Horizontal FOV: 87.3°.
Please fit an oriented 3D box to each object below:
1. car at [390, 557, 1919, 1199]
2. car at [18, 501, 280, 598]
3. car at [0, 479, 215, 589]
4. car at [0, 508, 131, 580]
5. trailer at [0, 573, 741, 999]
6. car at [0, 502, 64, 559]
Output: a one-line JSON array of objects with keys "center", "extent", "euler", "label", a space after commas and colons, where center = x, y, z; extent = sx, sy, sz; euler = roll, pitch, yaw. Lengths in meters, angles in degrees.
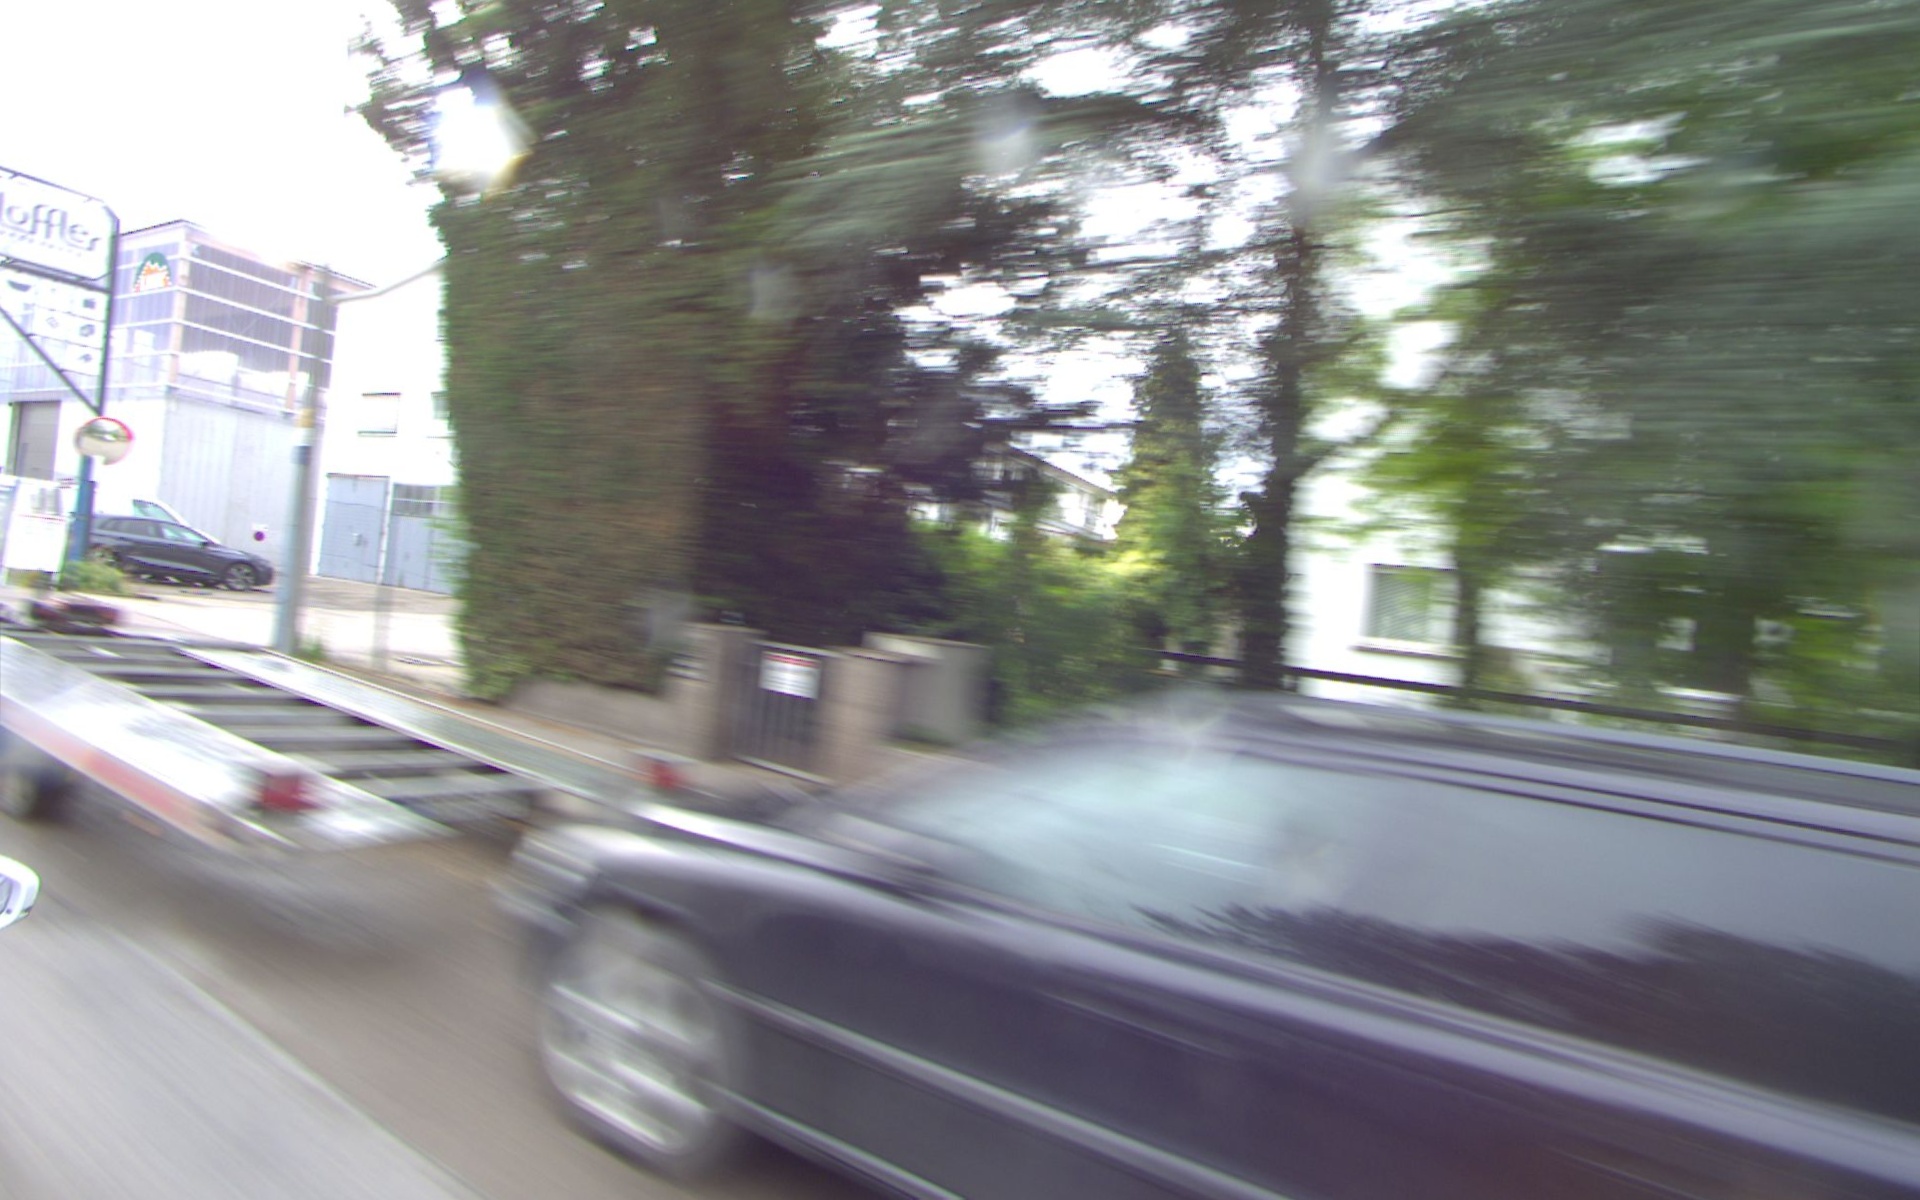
[{"center": [0.611, 0.895, 2.707], "extent": [4.574, 1.448, 1.743], "euler": [6, -4, 34], "label": "car"}, {"center": [-18.280, -1.089, 22.875], "extent": [1.967, 1.473, 4.112], "euler": [6, -3, 32], "label": "car"}, {"center": [-20.718, -1.569, 23.559], "extent": [1.967, 1.907, 4.741], "euler": [6, -2, 32], "label": "car"}, {"center": [-23.188, -1.518, 24.391], "extent": [1.819, 1.394, 4.330], "euler": [6, -3, 31], "label": "car"}, {"center": [-4.466, 0.599, 5.884], "extent": [6.526, 0.907, 2.178], "euler": [7, -2, 32], "label": "trailer"}, {"center": [-31.007, -2.417, 31.274], "extent": [1.782, 1.553, 4.253], "euler": [6, -3, 32], "label": "car"}]
